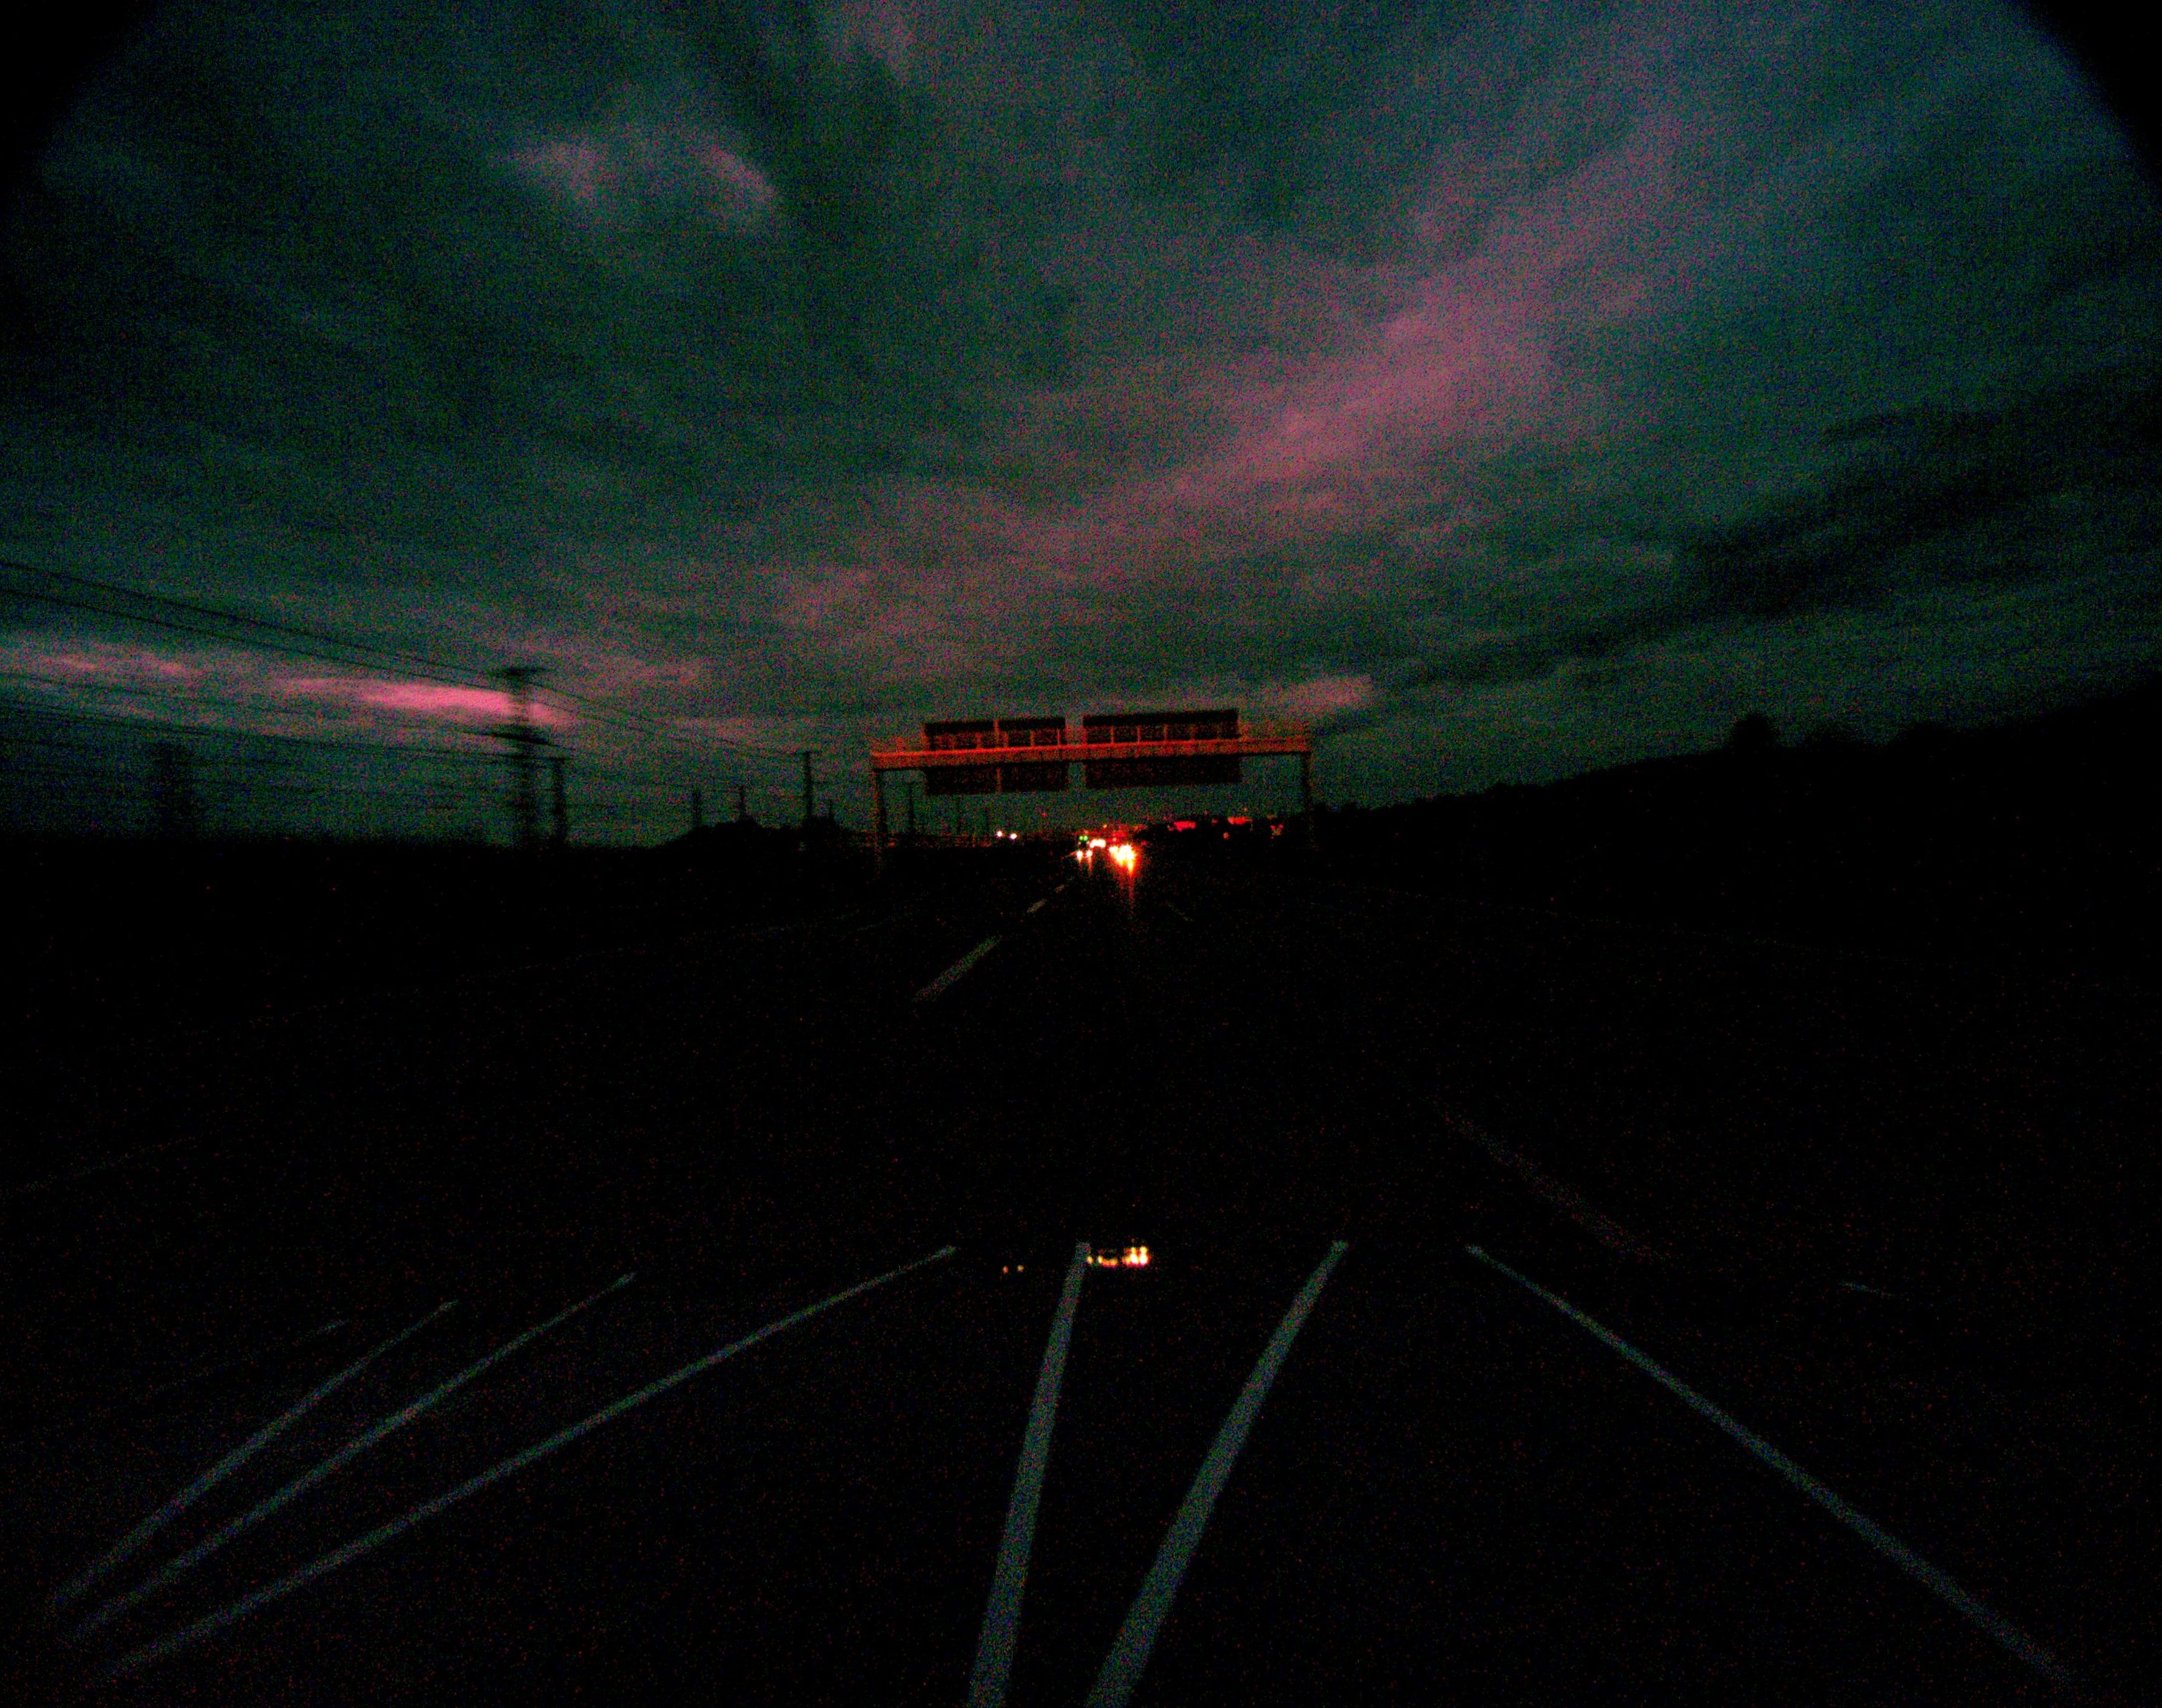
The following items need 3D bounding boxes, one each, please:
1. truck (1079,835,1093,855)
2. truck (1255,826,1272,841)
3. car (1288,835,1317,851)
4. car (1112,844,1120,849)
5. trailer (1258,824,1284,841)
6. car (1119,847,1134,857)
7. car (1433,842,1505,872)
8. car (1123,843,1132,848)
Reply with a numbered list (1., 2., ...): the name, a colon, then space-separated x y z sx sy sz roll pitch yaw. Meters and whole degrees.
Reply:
1. truck: 1.148 -1.900 168.488 3.060 4.047 10.522 -1 -1 1
2. truck: 49.082 -5.498 204.686 2.698 4.048 5.475 -3 1 -4
3. car: 22.003 -1.101 75.673 1.693 1.393 4.428 -4 2 2
4. car: 9.904 -2.046 215.744 1.998 1.342 4.175 -3 1 2
5. trailer: 49.503 -5.448 198.429 2.698 4.048 12.486 -3 1 -4
6. car: 6.477 -0.236 108.927 1.998 1.342 4.175 1 1 0
7. car: 21.089 0.131 41.517 1.693 1.393 4.428 -4 2 2
8. car: 12.792 -2.355 208.347 1.999 1.342 4.174 -3 1 0
